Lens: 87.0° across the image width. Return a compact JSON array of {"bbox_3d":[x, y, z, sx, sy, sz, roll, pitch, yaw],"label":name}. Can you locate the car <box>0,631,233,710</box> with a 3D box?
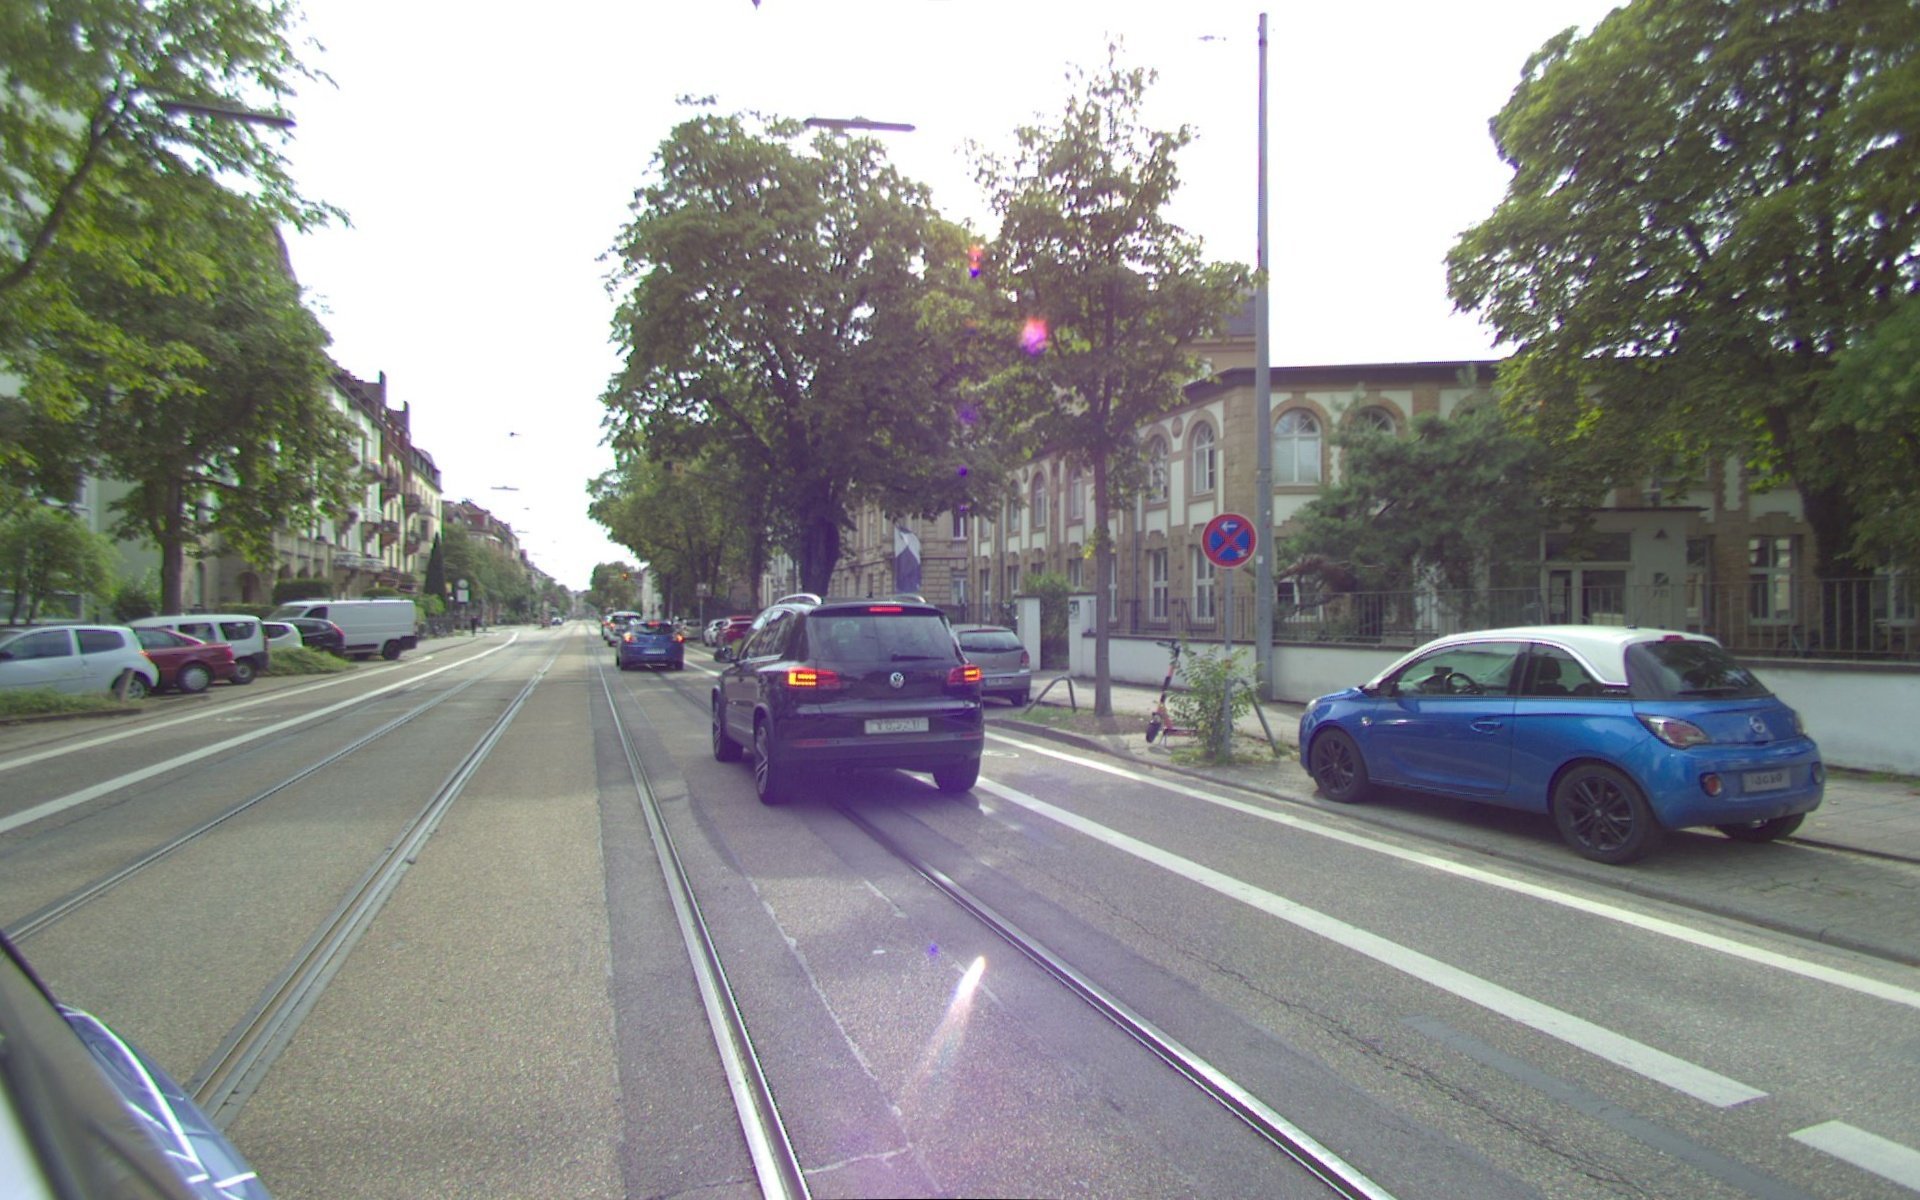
[{"bbox_3d":[-17.038,1.323,20.182,1.805,1.349,3.736,0,-1,27],"label":"car"}]

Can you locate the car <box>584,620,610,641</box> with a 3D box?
[{"bbox_3d":[-29.495,2.447,82.097,1.821,1.624,4.348,0,-1,-22],"label":"car"}]

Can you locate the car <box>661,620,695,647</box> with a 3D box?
[{"bbox_3d":[-17.872,2.080,64.105,1.631,1.646,3.919,0,-1,-22],"label":"car"}]

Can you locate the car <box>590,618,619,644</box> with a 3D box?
[{"bbox_3d":[-23.661,2.040,67.205,1.708,1.624,4.348,1,-2,-20],"label":"car"}]

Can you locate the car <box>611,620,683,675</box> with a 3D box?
[{"bbox_3d":[-9.442,1.383,30.360,1.707,1.508,4.392,1,-2,-22],"label":"car"}]

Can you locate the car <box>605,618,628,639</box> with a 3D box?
[{"bbox_3d":[-31.644,2.588,93.221,1.770,1.838,4.693,0,-1,-22],"label":"car"}]

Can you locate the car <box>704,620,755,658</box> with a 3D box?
[{"bbox_3d":[-10.553,1.744,46.176,1.631,1.646,3.919,0,-1,-22],"label":"car"}]

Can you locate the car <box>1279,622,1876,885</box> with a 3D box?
[{"bbox_3d":[4.300,0.914,7.722,1.605,1.476,3.614,0,-1,-22],"label":"car"}]

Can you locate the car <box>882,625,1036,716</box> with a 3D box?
[{"bbox_3d":[-0.129,1.206,18.657,1.605,1.476,3.585,0,-1,-22],"label":"car"}]

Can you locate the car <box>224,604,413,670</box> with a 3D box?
[{"bbox_3d":[-22.799,1.261,36.255,2.137,2.192,5.390,0,-1,27],"label":"car"}]

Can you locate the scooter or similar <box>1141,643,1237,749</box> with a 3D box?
[{"bbox_3d":[2.695,1.124,11.967,0.991,1.176,0.369,-3,-1,3],"label":"scooter or similar"}]

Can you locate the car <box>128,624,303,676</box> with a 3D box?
[{"bbox_3d":[-20.961,1.364,28.639,1.756,1.340,3.617,0,-1,23],"label":"car"}]

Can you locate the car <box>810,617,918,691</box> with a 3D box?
[{"bbox_3d":[-2.445,1.265,24.853,1.631,1.646,3.737,0,-1,-22],"label":"car"}]

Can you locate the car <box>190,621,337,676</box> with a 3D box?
[{"bbox_3d":[-22.298,1.502,32.476,1.767,1.601,3.594,-1,-1,42],"label":"car"}]

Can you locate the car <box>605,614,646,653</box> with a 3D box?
[{"bbox_3d":[-17.535,1.724,52.948,1.707,1.898,4.392,0,-1,-23],"label":"car"}]

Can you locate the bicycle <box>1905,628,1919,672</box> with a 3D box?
[{"bbox_3d":[23.407,1.190,23.789,0.587,1.051,1.975,-1,-1,3],"label":"bicycle"}]

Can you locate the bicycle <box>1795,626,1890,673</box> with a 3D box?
[{"bbox_3d":[20.977,1.153,24.118,0.587,1.051,1.975,-1,-1,3],"label":"bicycle"}]

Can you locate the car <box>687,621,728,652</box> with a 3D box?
[{"bbox_3d":[-13.618,1.928,54.420,1.631,1.613,3.919,0,-1,-22],"label":"car"}]

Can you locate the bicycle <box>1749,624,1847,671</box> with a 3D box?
[{"bbox_3d":[20.082,1.118,24.315,0.586,1.051,1.979,-1,-1,-4],"label":"bicycle"}]

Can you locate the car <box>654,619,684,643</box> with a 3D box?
[{"bbox_3d":[-20.436,2.156,70.984,1.631,1.646,3.919,0,-1,-22],"label":"car"}]

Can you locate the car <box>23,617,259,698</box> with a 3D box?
[{"bbox_3d":[-18.266,1.211,22.748,1.805,1.630,3.736,0,-1,27],"label":"car"}]

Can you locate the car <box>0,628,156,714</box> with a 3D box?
[{"bbox_3d":[-16.070,1.163,17.017,1.756,1.340,3.617,0,-1,23],"label":"car"}]

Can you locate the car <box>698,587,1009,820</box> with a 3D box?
[{"bbox_3d":[-1.262,0.799,9.504,1.707,1.641,4.392,2,-2,-22],"label":"car"}]

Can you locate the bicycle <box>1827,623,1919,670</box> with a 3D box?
[{"bbox_3d":[21.750,1.087,24.093,0.587,1.051,1.975,-1,-1,3],"label":"bicycle"}]
